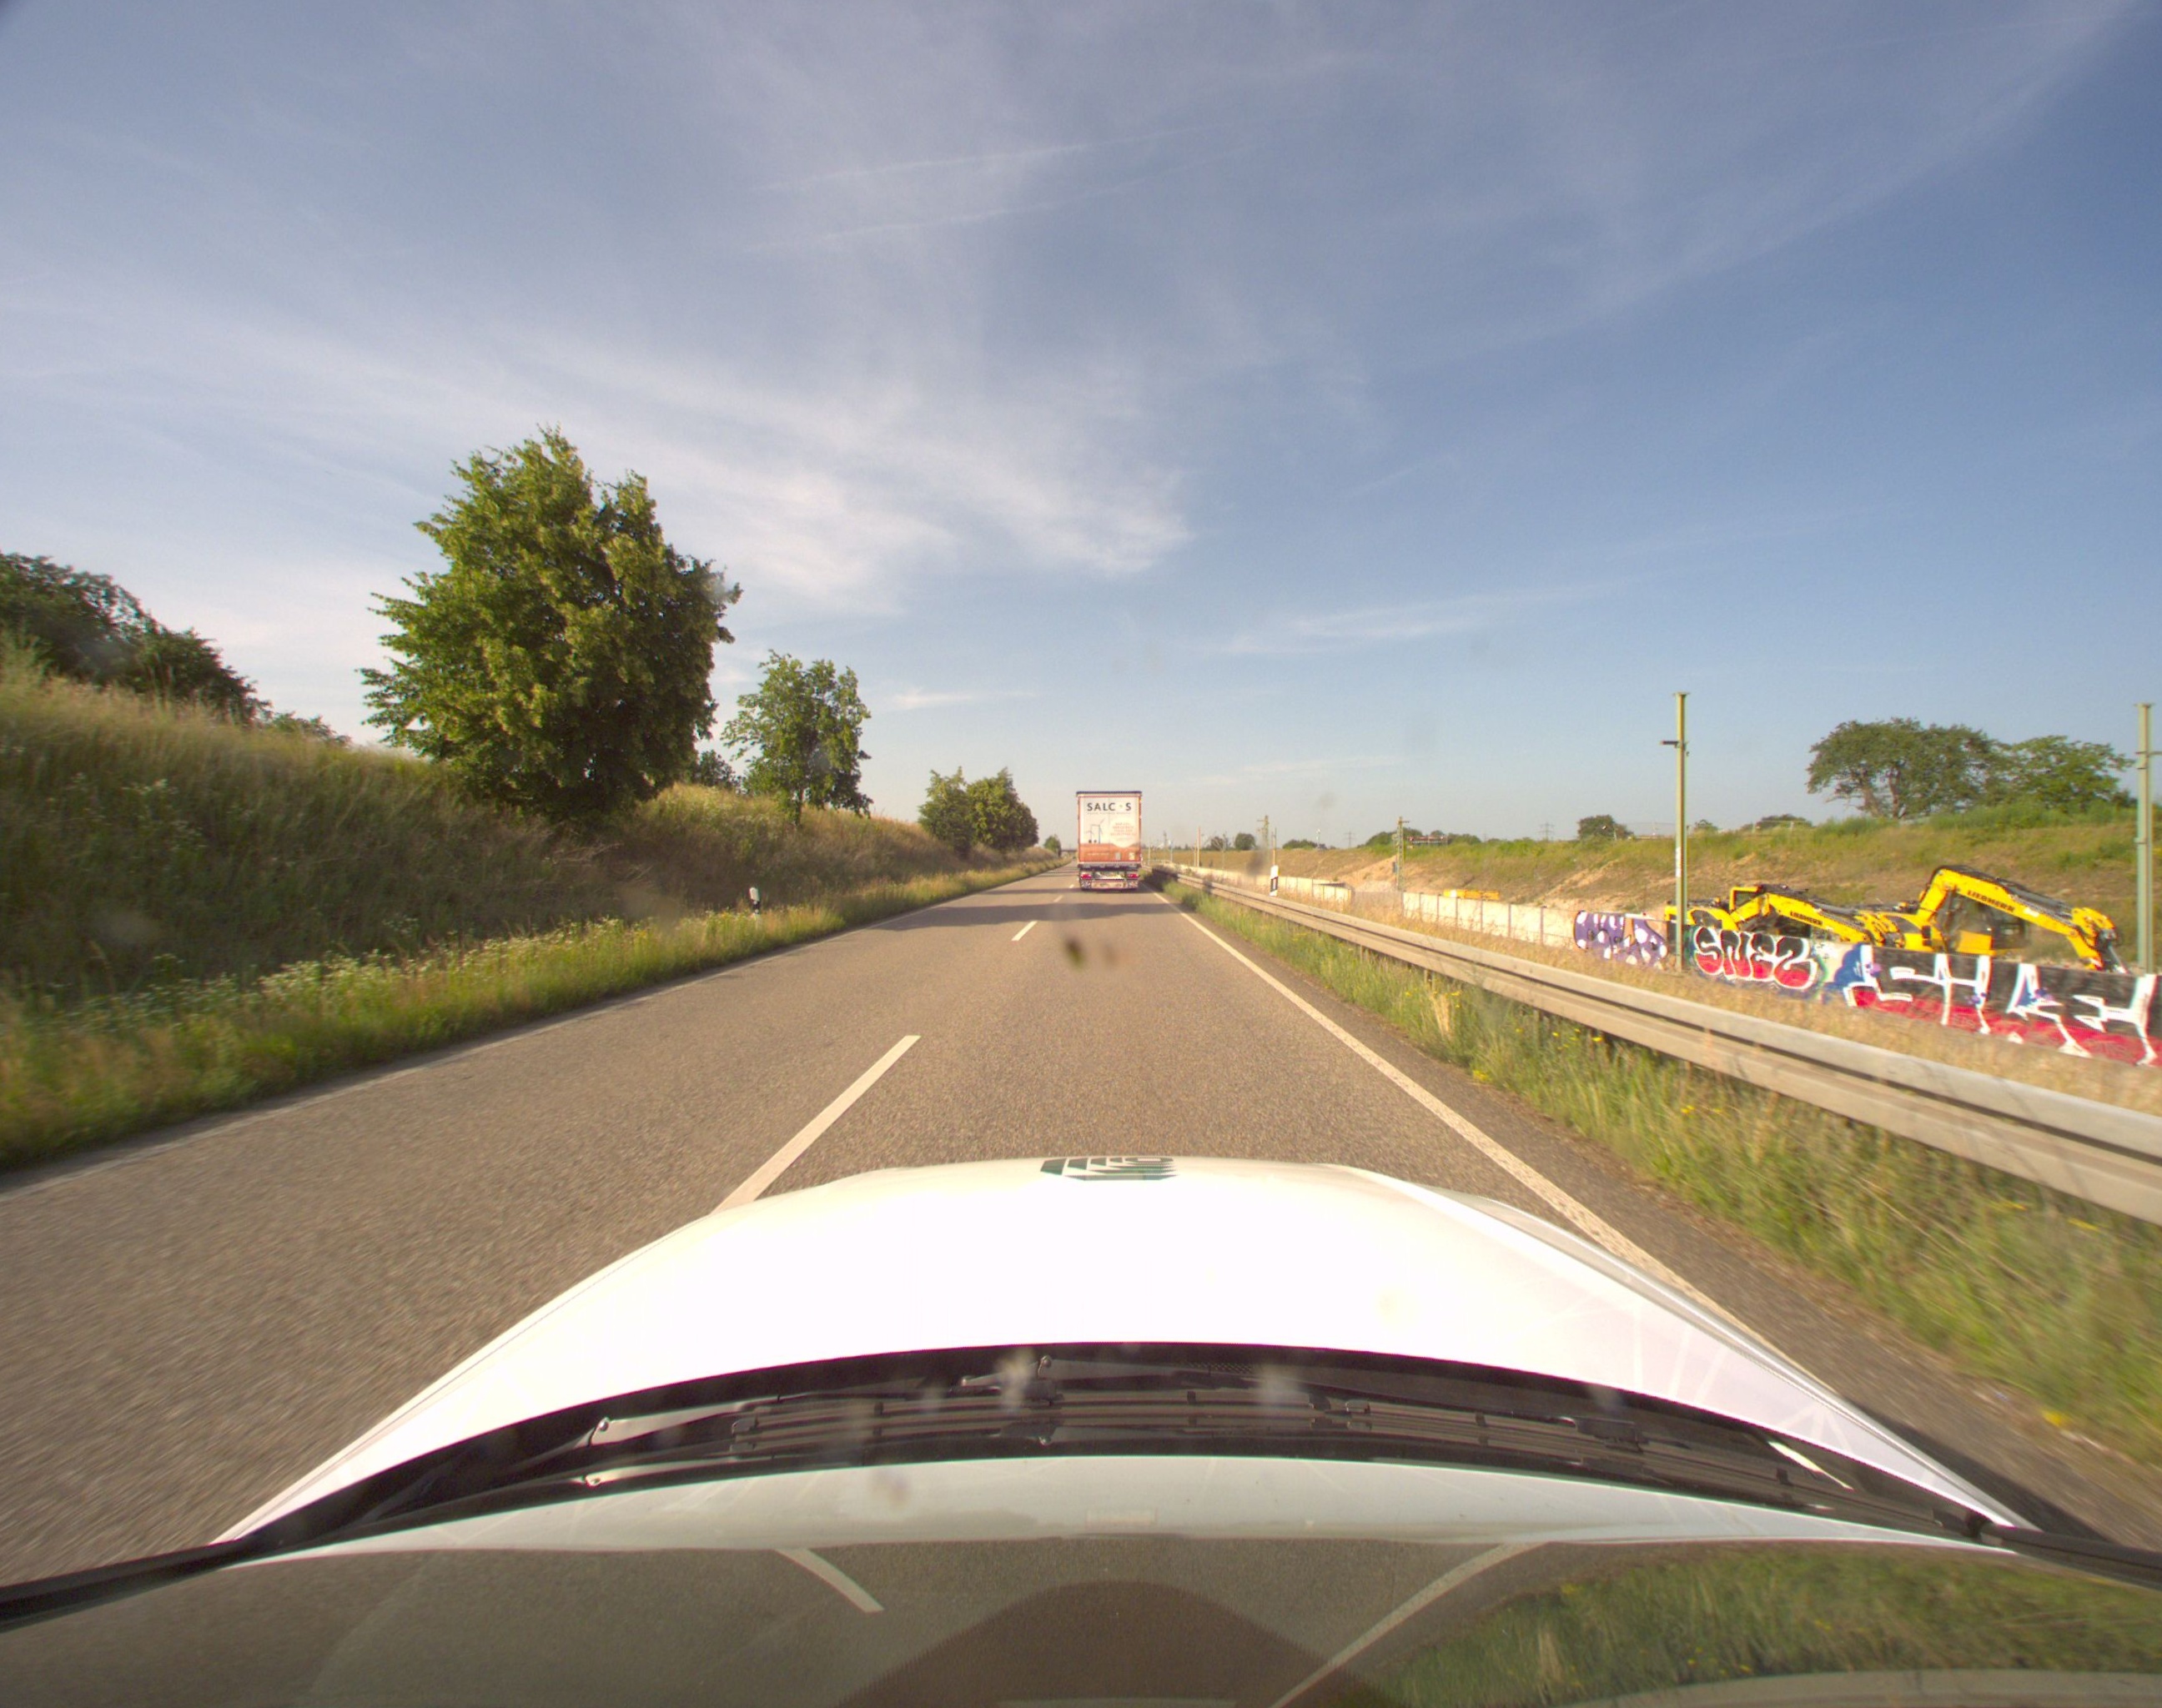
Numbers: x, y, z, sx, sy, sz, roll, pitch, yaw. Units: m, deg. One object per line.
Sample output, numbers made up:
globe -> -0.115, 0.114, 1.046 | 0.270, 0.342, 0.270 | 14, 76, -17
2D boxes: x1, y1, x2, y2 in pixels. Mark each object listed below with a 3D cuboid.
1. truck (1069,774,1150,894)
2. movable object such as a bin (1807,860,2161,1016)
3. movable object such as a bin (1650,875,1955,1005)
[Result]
truck -> 1.301, -0.770, 36.172 | 3.140, 4.688, 8.446 | -1, 0, 2
movable object such as a bin -> 26.336, 2.146, 24.295 | 2.786, 3.886, 7.540 | 0, 0, 1
movable object such as a bin -> 21.908, 2.383, 25.592 | 2.612, 3.239, 8.075 | 0, 0, 1
